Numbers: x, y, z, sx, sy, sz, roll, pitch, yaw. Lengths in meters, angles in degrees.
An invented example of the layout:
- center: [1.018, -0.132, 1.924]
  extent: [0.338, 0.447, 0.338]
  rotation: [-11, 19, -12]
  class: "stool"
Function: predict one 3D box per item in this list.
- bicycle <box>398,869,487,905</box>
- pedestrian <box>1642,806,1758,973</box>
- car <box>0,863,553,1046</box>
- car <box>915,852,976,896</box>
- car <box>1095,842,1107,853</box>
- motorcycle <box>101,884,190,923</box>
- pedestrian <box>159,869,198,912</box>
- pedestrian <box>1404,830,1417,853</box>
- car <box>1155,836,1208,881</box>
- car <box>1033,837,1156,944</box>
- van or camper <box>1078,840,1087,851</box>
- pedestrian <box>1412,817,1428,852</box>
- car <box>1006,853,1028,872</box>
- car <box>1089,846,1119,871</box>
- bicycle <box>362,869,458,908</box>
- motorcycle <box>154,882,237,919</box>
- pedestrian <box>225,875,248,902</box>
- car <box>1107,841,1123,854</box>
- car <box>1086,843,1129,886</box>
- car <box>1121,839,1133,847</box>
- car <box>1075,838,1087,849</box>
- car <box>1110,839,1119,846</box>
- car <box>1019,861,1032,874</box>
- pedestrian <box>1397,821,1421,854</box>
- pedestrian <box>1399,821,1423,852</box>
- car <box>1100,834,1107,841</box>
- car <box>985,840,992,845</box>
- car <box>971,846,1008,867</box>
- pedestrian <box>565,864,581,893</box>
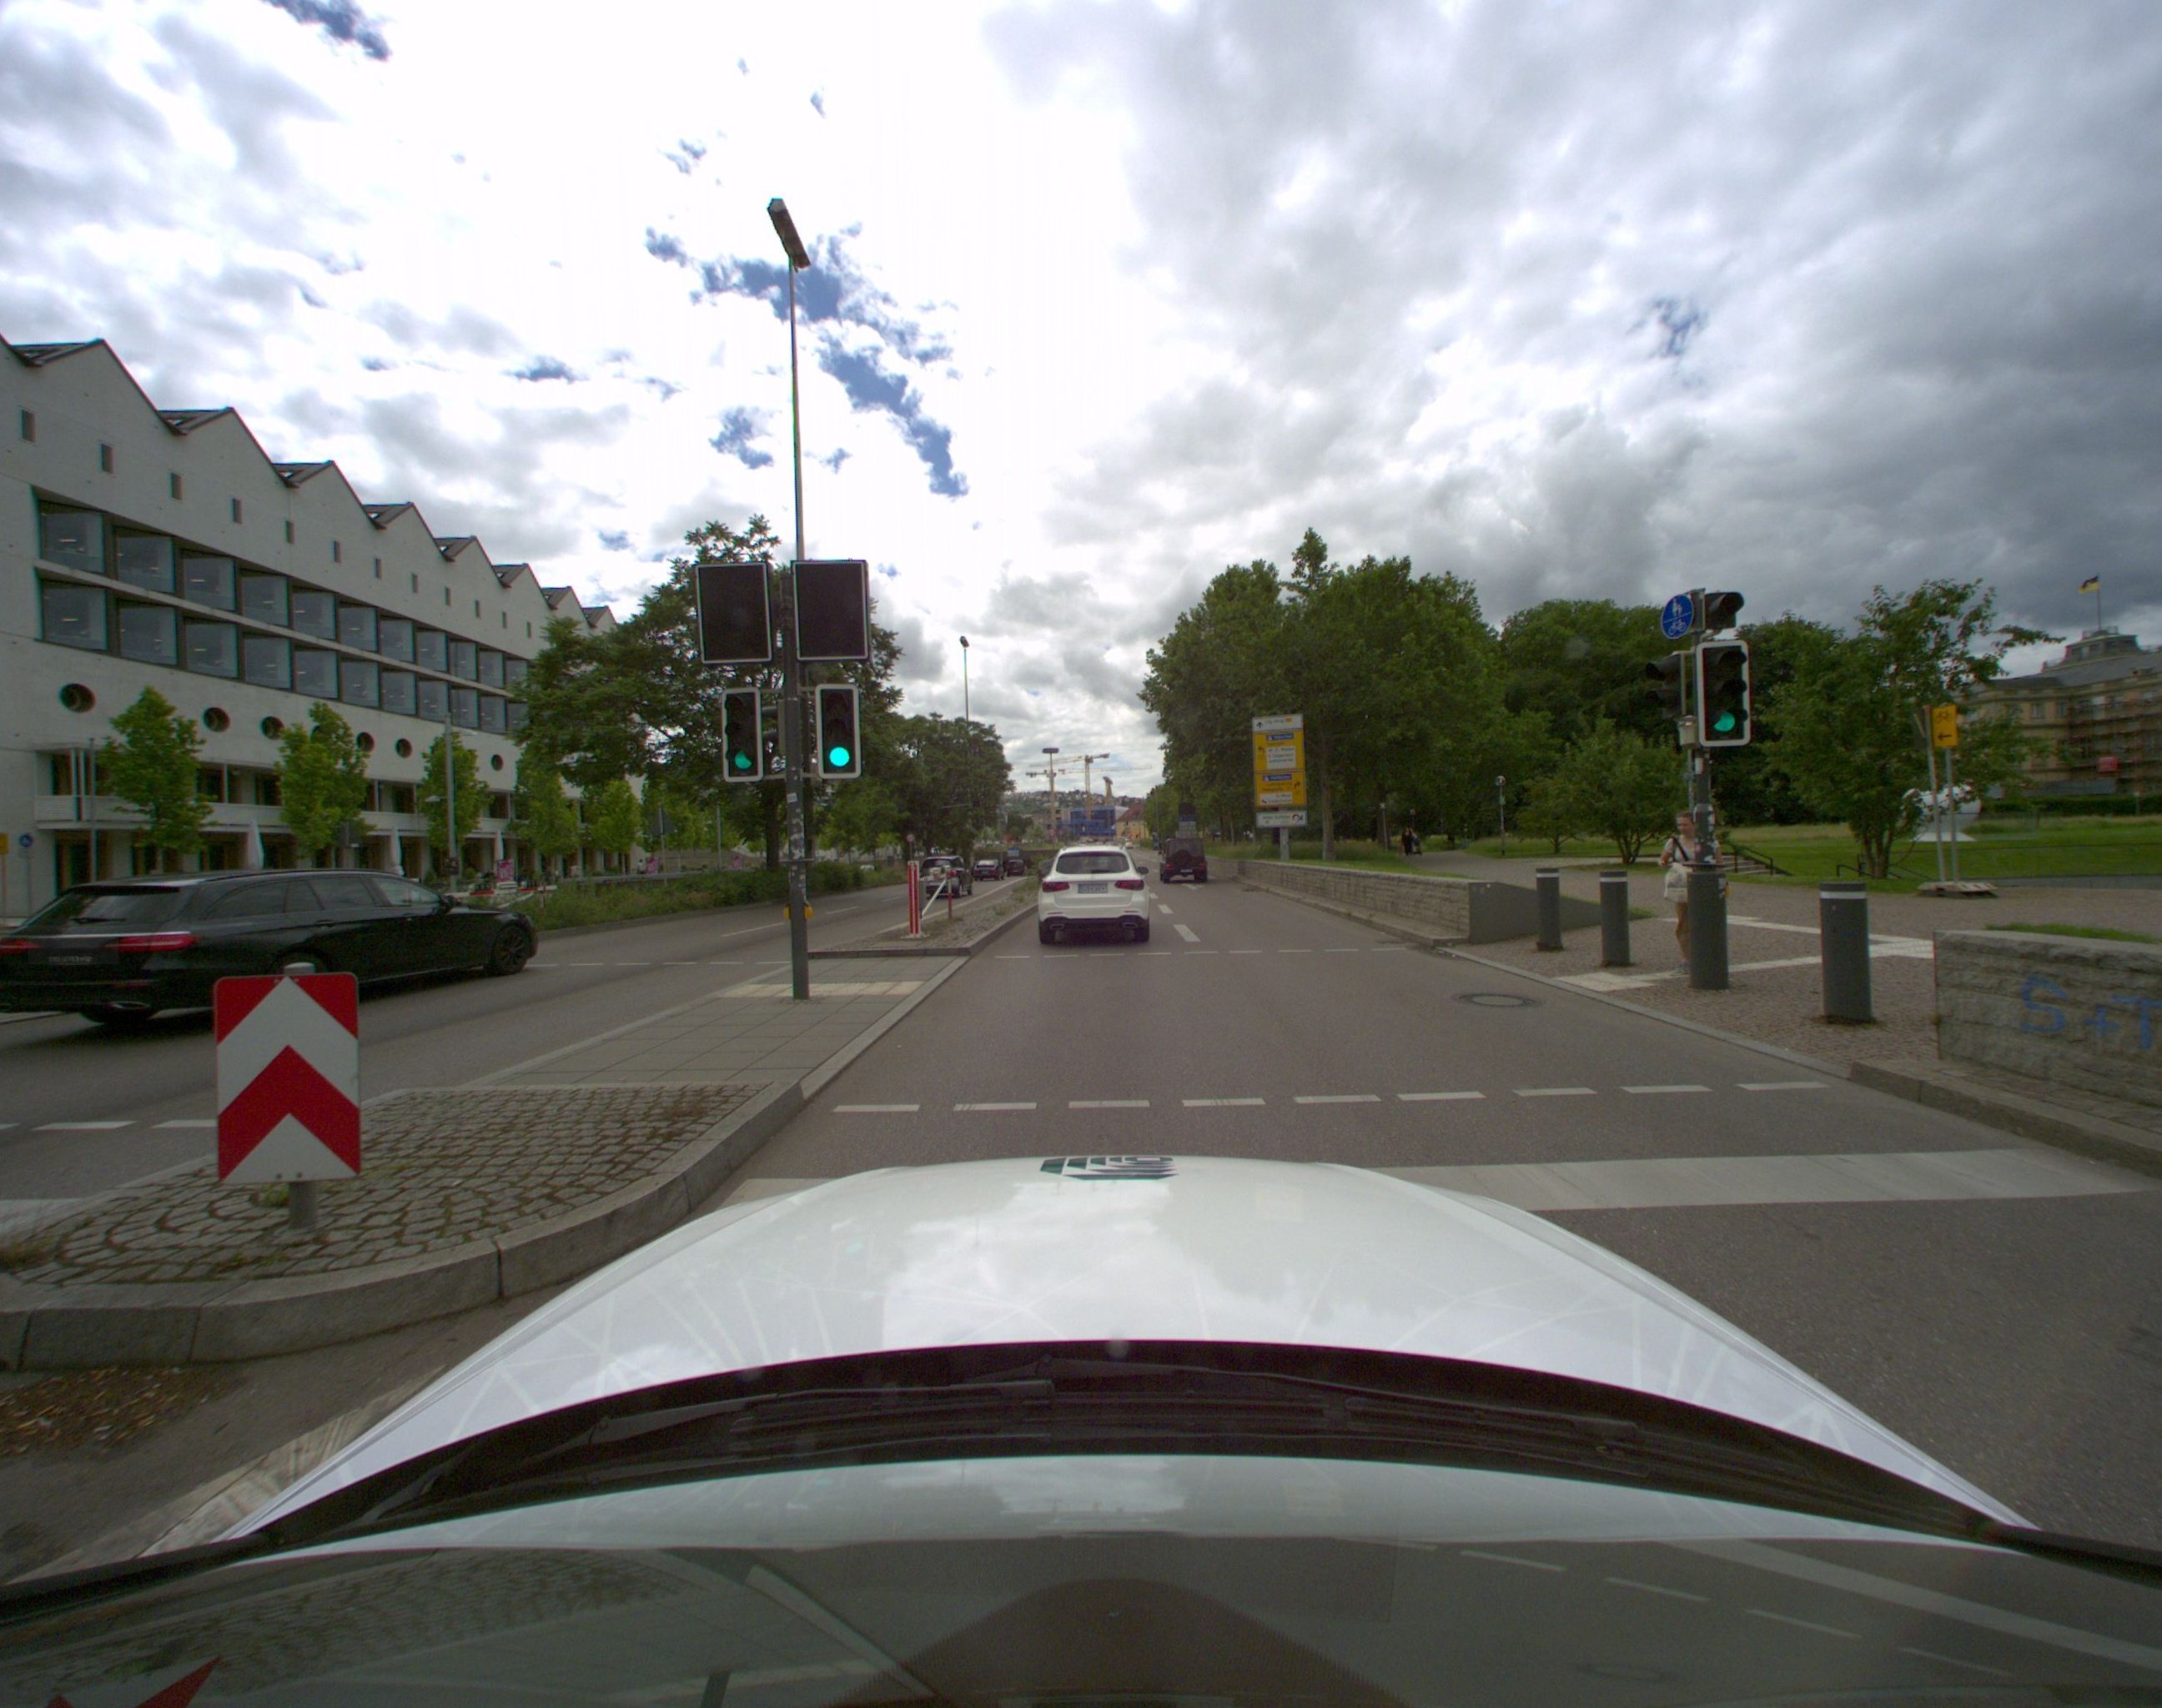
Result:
- center: [-33.452, 1.733, 42.687]
  extent: [3.603, 1.684, 1.182]
  rotation: [-2, 1, -2]
  class: "bicycle"
- center: [6.389, 0.353, 8.435]
  extent: [0.695, 1.656, 0.684]
  rotation: [0, -1, -1]
  class: "pedestrian"
- center: [-8.607, 0.883, 9.302]
  extent: [1.805, 1.460, 4.865]
  rotation: [-2, 0, 2]
  class: "car"
- center: [-4.958, 0.701, 30.169]
  extent: [1.622, 1.509, 3.539]
  rotation: [0, 0, 0]
  class: "car"
- center: [3.532, -1.082, 141.636]
  extent: [1.987, 1.781, 3.999]
  rotation: [0, 0, 0]
  class: "car"
- center: [-32.085, 1.683, 27.967]
  extent: [1.893, 1.233, 0.653]
  rotation: [-2, -2, -25]
  class: "motorcycle"
- center: [-33.467, 1.342, 30.210]
  extent: [0.887, 1.557, 0.591]
  rotation: [-2, 0, -43]
  class: "pedestrian"
- center: [19.707, -0.753, 48.720]
  extent: [0.580, 1.325, 0.542]
  rotation: [0, -1, 1]
  class: "pedestrian"
- center: [4.545, 0.205, 37.406]
  extent: [1.970, 1.893, 4.708]
  rotation: [0, 0, 1]
  class: "car"
- center: [0.204, 0.594, 14.924]
  extent: [1.935, 1.684, 3.999]
  rotation: [0, 0, -1]
  class: "car"
- center: [0.335, -1.859, 175.661]
  extent: [1.916, 2.320, 3.998]
  rotation: [-1, -1, 0]
  class: "van or camper"
- center: [19.714, -1.140, 47.333]
  extent: [0.568, 2.014, 0.933]
  rotation: [0, -1, 1]
  class: "pedestrian"
- center: [-5.740, 0.747, 73.364]
  extent: [1.714, 1.678, 3.998]
  rotation: [0, 0, -2]
  class: "car"
- center: [1.542, 0.267, 56.325]
  extent: [1.916, 1.601, 3.999]
  rotation: [-1, 1, 0]
  class: "car"
- center: [-33.142, 1.699, 40.262]
  extent: [3.603, 1.684, 1.182]
  rotation: [-2, 1, -2]
  class: "bicycle"
- center: [-31.869, 1.663, 29.353]
  extent: [1.893, 1.233, 0.653]
  rotation: [-2, -2, -25]
  class: "motorcycle"
- center: [-41.945, 1.715, 40.450]
  extent: [0.517, 1.327, 0.565]
  rotation: [-3, -1, 0]
  class: "pedestrian"
- center: [4.520, -0.845, 110.110]
  extent: [1.987, 1.662, 3.999]
  rotation: [0, 0, 0]
  class: "car"
- center: [1.057, 0.423, 33.353]
  extent: [1.666, 1.628, 4.000]
  rotation: [0, -1, 1]
  class: "car"
- center: [10.345, -2.484, 183.389]
  extent: [1.990, 1.618, 3.994]
  rotation: [1, 0, -5]
  class: "car"
- center: [0.008, -1.852, 139.671]
  extent: [1.986, 1.757, 4.001]
  rotation: [0, 0, 1]
  class: "car"
- center: [7.341, -2.515, 179.474]
  extent: [1.714, 1.584, 3.998]
  rotation: [0, 0, -2]
  class: "car"
- center: [-7.397, 1.824, 108.668]
  extent: [1.715, 1.584, 3.995]
  rotation: [0, 0, -3]
  class: "car"
- center: [17.367, -0.877, 43.140]
  extent: [0.893, 1.732, 0.969]
  rotation: [0, 0, 1]
  class: "pedestrian"
- center: [19.721, -1.024, 48.735]
  extent: [0.994, 1.836, 1.029]
  rotation: [0, -1, -2]
  class: "pedestrian"
- center: [6.912, -4.943, 248.630]
  extent: [1.794, 2.014, 3.999]
  rotation: [0, 0, 0]
  class: "car"
- center: [-28.245, -3.531, 248.820]
  extent: [1.829, 1.360, 3.861]
  rotation: [1, 0, -5]
  class: "car"
- center: [-5.987, 0.134, 53.677]
  extent: [1.711, 1.292, 4.004]
  rotation: [1, 0, 3]
  class: "car"
- center: [-35.971, 1.732, 57.652]
  extent: [0.716, 2.013, 0.730]
  rotation: [-4, 0, -40]
  class: "pedestrian"
